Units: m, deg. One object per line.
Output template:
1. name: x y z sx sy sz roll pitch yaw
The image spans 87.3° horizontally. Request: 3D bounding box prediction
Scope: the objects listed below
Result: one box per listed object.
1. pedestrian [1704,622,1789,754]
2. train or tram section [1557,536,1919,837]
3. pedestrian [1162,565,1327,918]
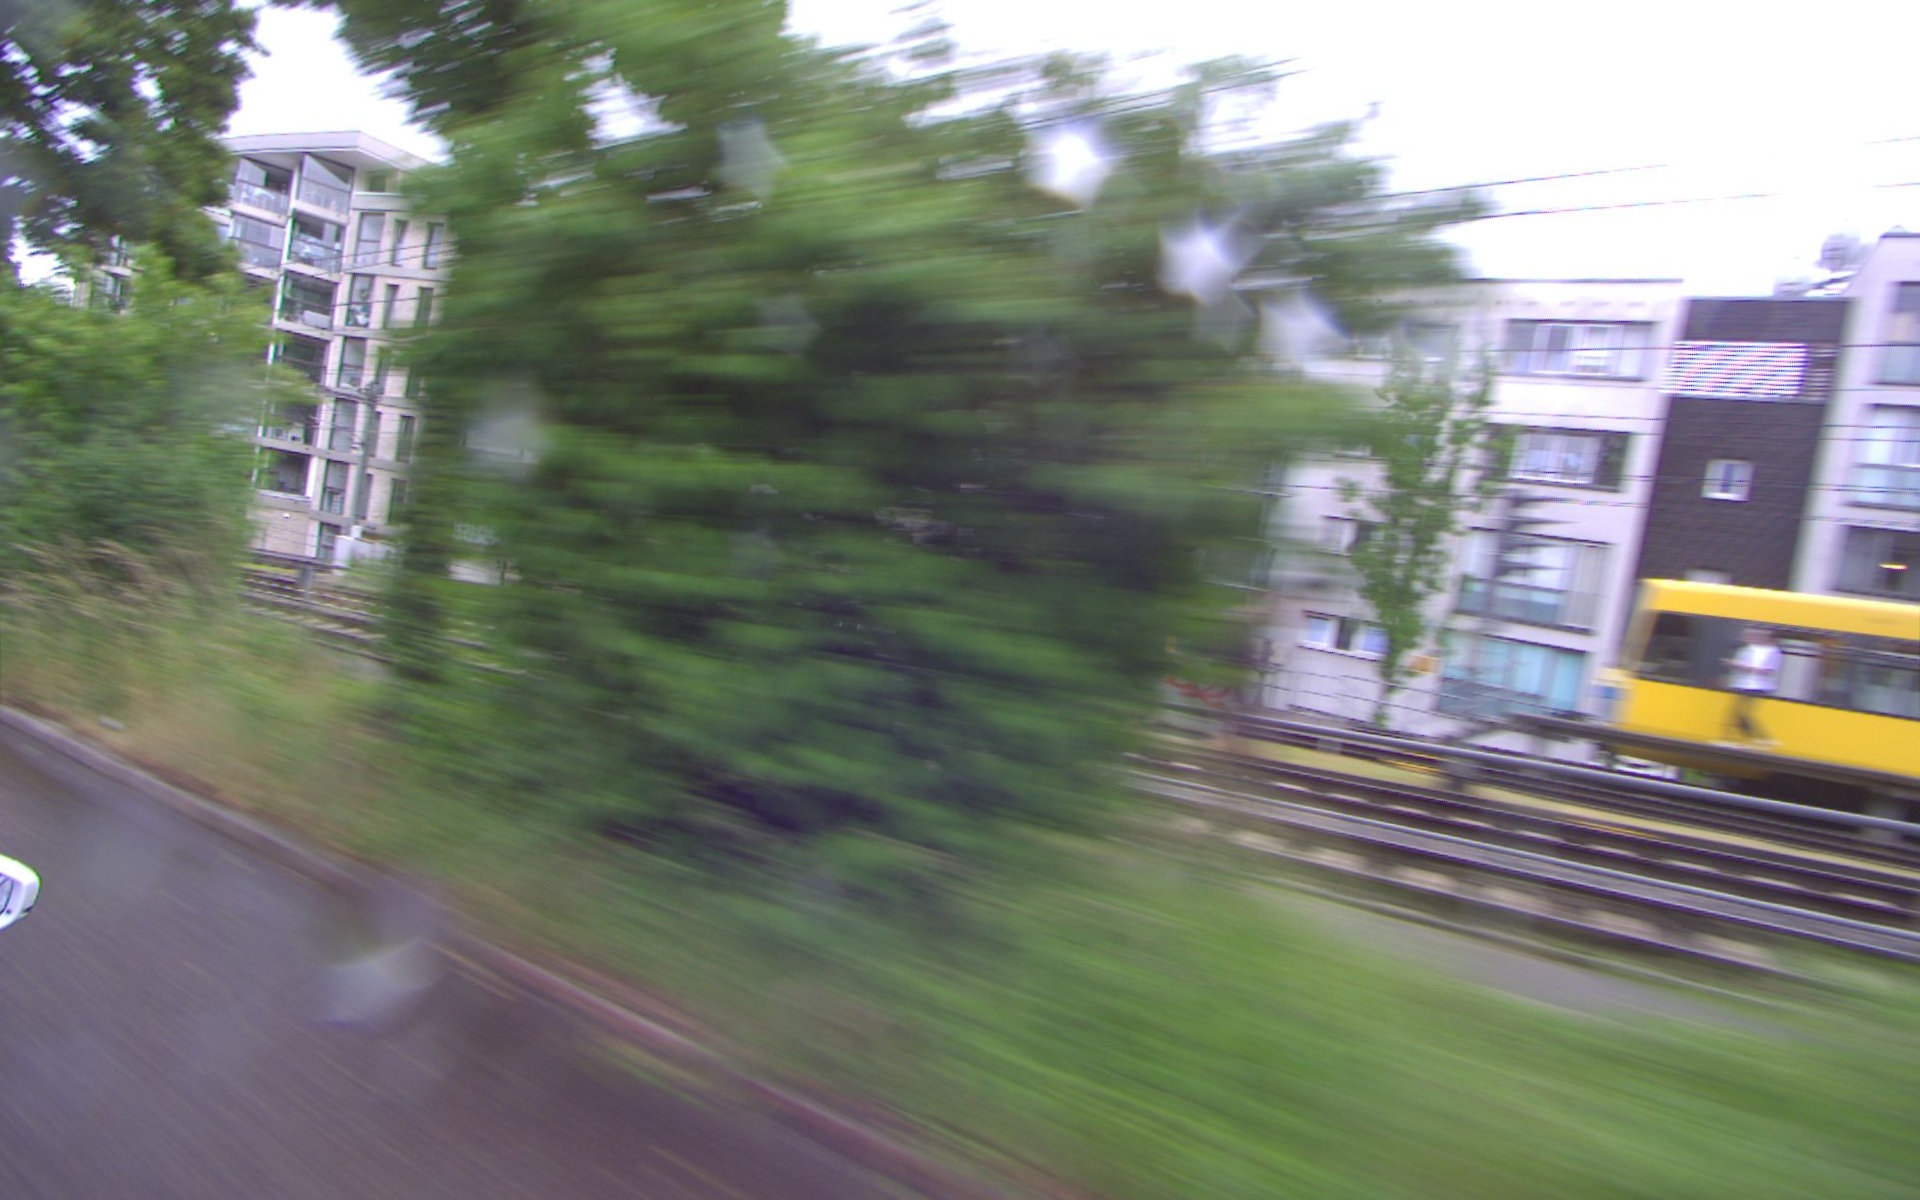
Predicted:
1. pedestrian: 12.108 1.351 15.510 0.804 1.903 0.722 6 0 32
2. train or tram section: 19.150 2.275 13.758 18.498 3.996 3.335 9 1 32
3. pedestrian: 1.513 0.715 5.321 0.516 1.708 0.563 7 1 31
